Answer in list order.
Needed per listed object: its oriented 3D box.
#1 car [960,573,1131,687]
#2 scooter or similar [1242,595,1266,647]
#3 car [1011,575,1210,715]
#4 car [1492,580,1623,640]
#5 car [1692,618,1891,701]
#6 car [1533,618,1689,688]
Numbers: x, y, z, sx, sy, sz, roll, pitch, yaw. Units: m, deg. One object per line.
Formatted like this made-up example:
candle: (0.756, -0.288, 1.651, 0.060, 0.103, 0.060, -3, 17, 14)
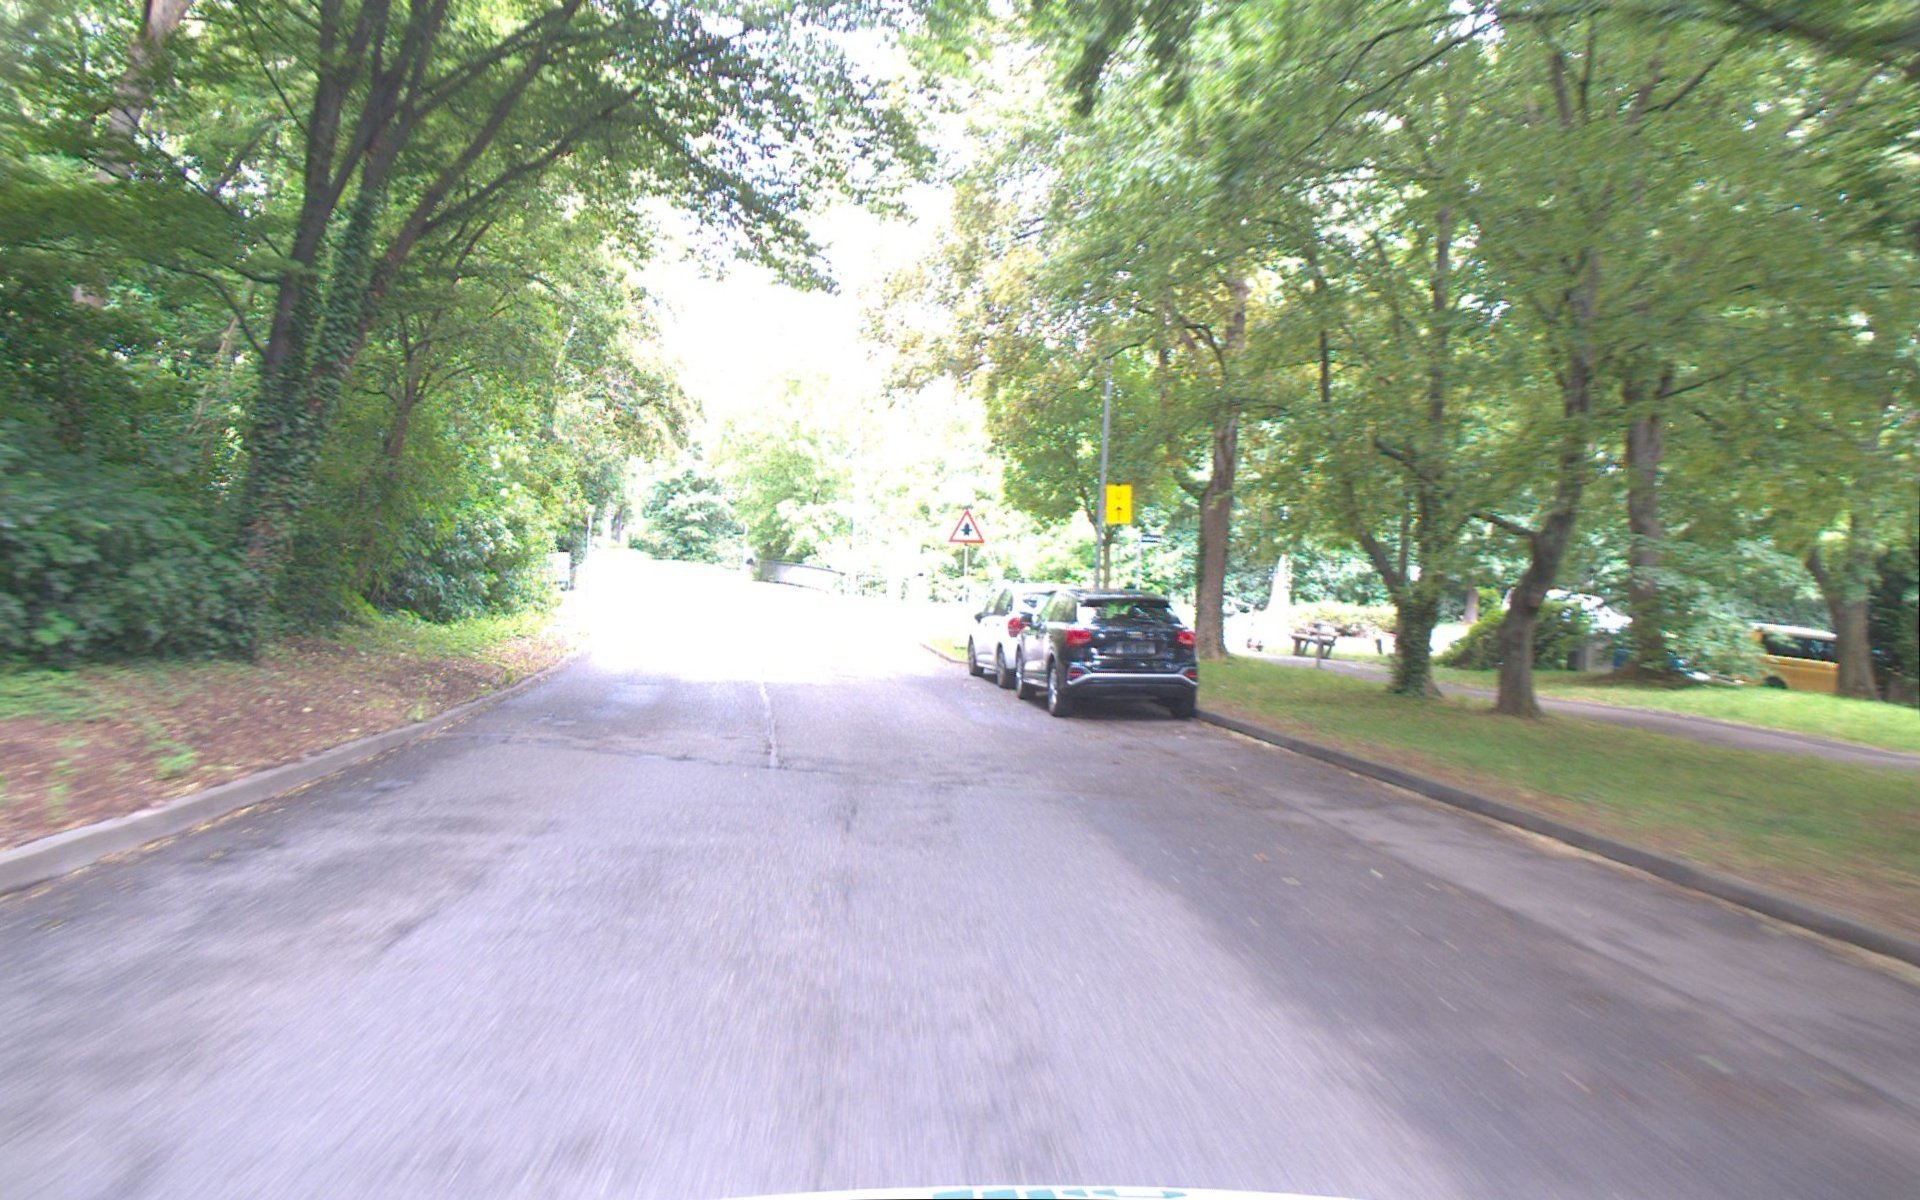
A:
car: (1.238, 0.404, 25.659, 1.742, 1.549, 3.771, 2, 1, -11)
scooter or similar: (7.615, 0.540, 42.888, 0.277, 1.309, 1.107, 3, 1, -6)
car: (1.815, 0.494, 21.287, 1.740, 1.549, 4.178, 2, 1, -6)
car: (22.497, 0.371, 62.385, 4.122, 2.048, 1.999, 2, 1, -3)
car: (22.092, 1.554, 44.060, 4.306, 1.880, 1.833, 3, 1, 1)
car: (17.430, 1.408, 44.394, 3.443, 1.597, 1.833, 3, 1, 5)
